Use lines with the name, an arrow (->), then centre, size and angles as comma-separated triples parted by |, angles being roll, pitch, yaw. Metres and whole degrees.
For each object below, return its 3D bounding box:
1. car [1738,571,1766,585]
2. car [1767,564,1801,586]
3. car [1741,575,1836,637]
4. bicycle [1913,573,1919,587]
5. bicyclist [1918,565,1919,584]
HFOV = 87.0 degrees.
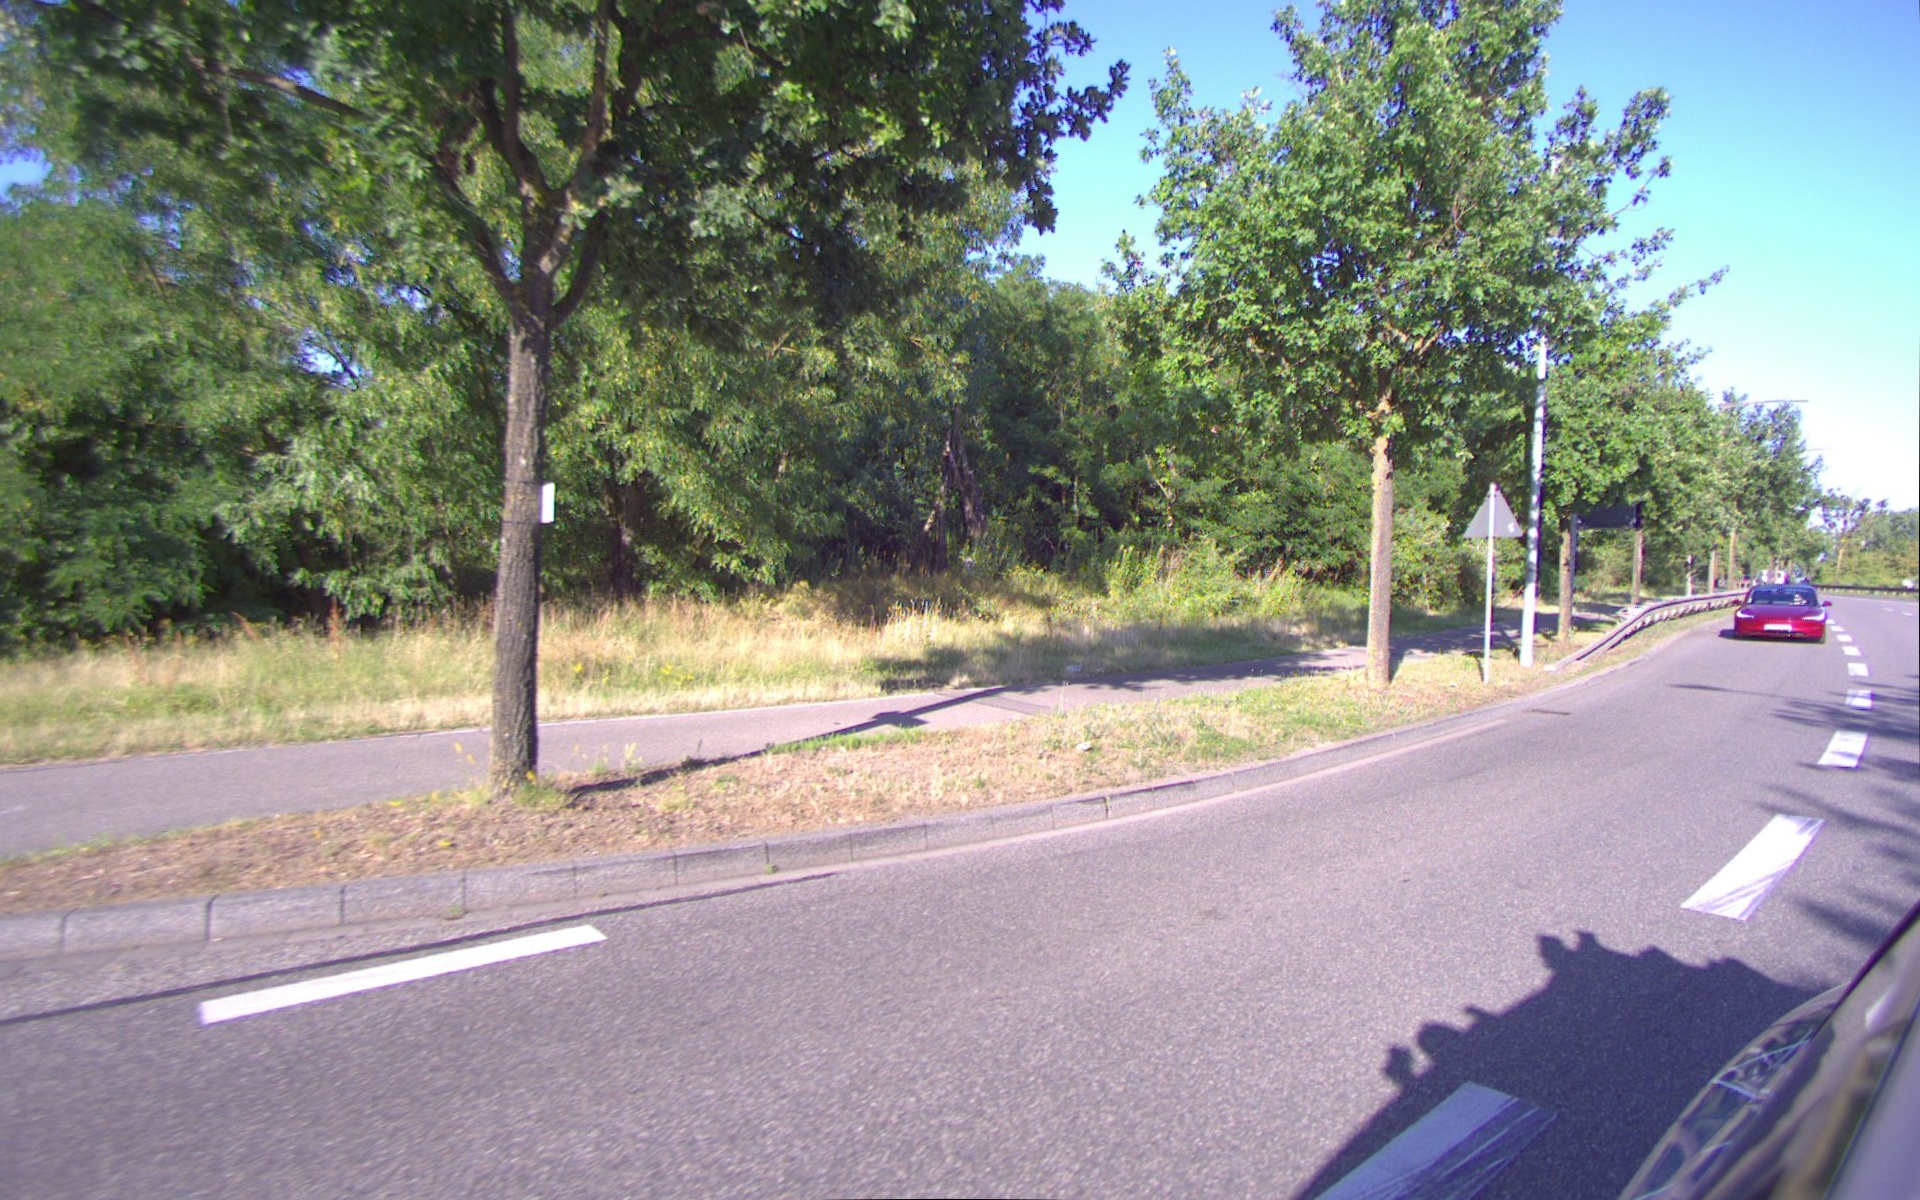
car -> 90.056, -2.570, 115.136 | 1.762, 1.483, 4.342 | 2, 3, 28
car -> 81.930, -2.507, 100.676 | 1.869, 2.038, 5.204 | 1, 3, 31
car -> 21.861, 0.093, 26.647 | 1.776, 1.460, 4.295 | 2, 3, 41
bicycle -> 76.329, -1.569, 80.160 | 0.579, 1.089, 2.289 | 4, 4, 30
bicyclist -> 76.273, -1.987, 79.961 | 0.596, 1.476, 0.820 | 4, 4, 30
